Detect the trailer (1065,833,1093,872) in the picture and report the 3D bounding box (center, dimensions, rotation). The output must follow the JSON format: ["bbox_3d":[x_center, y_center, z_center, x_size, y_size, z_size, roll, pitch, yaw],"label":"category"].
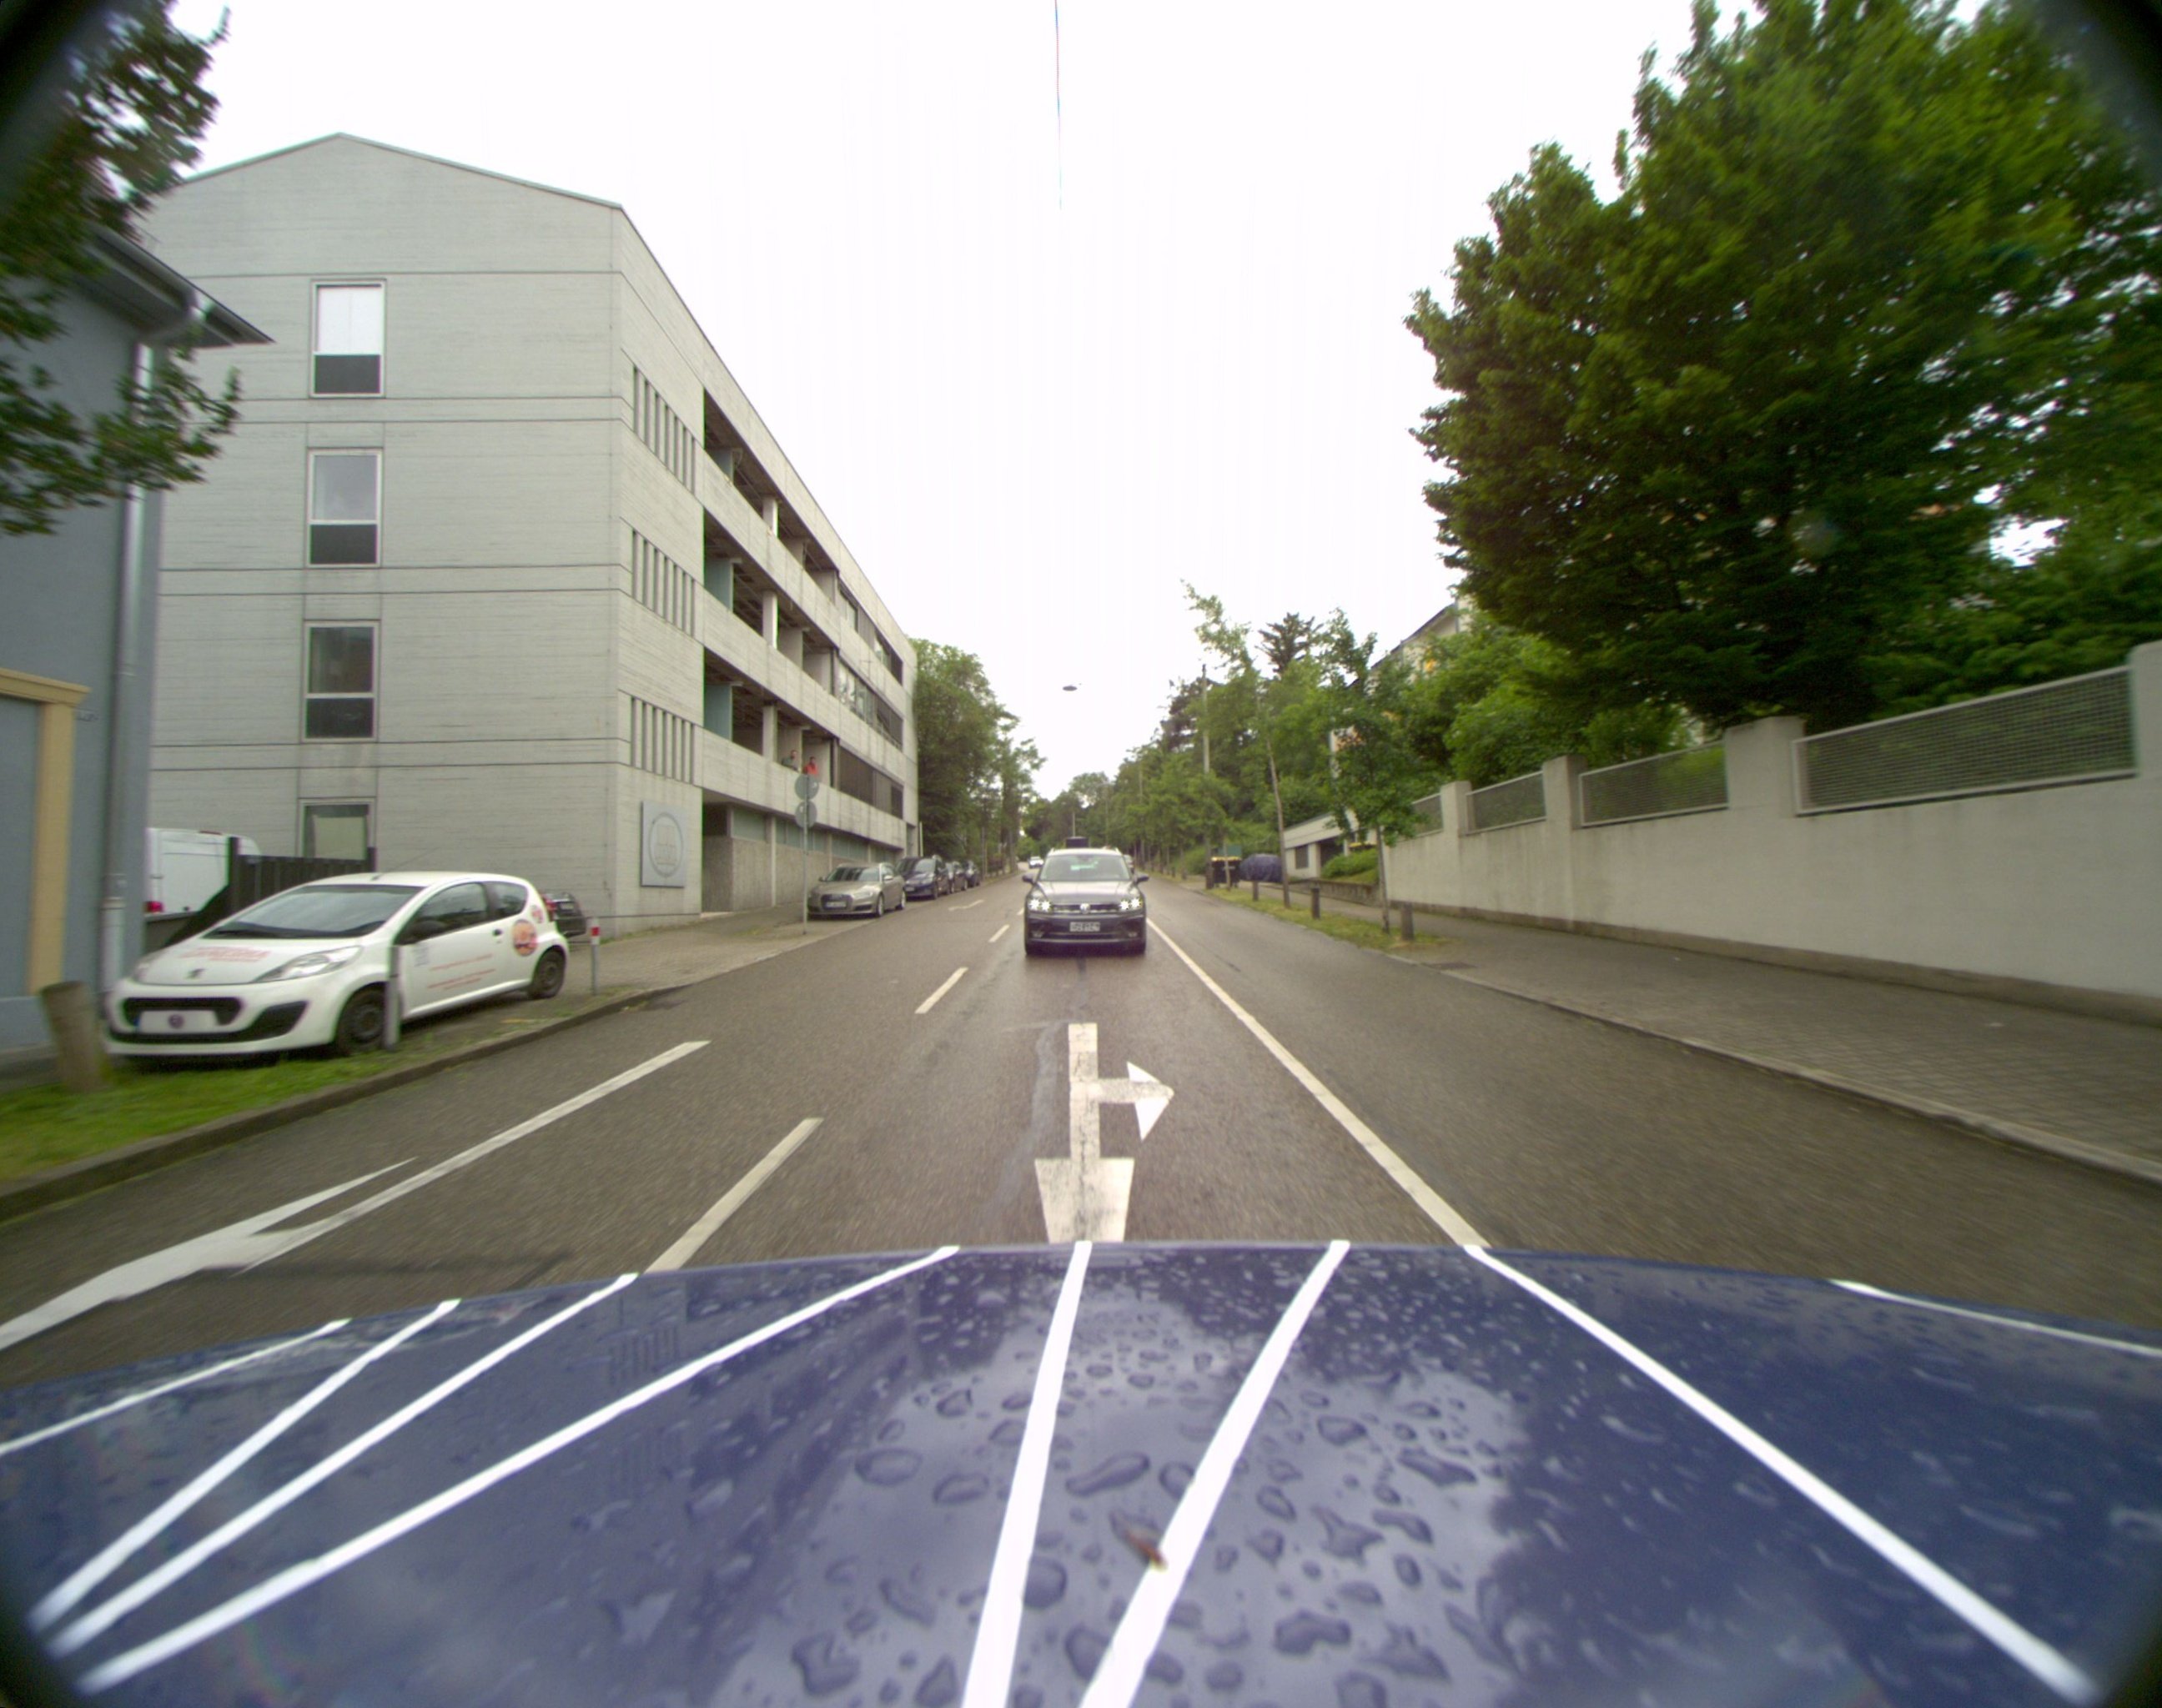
[{"bbox_3d":[-0.145,-0.147,53.819,1.771,2.610,3.031,-3,2,-2],"label":"trailer"}]

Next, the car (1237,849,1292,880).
[{"bbox_3d":[9.894,0.542,41.222,1.856,1.483,3.865,3,0,-1],"label":"car"}]

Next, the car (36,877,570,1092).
[{"bbox_3d":[-6.678,0.978,7.137,1.591,1.403,3.455,0,0,-4],"label":"car"}]

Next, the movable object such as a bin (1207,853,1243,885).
[{"bbox_3d":[6.223,0.626,32.864,1.227,1.342,1.122,-1,1,-8],"label":"movable object such as a bin"}]

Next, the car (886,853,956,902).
[{"bbox_3d":[-6.044,0.831,29.145,1.749,1.665,4.344,-1,1,0],"label":"car"}]

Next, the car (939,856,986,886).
[{"bbox_3d":[-6.185,0.854,39.939,1.843,1.436,4.155,1,0,-1],"label":"car"}]

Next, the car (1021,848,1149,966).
[{"bbox_3d":[0.071,0.740,12.899,1.786,1.632,4.199,-1,1,0],"label":"car"}]

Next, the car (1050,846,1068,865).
[{"bbox_3d":[-2.481,0.136,85.352,1.999,2.002,3.998,-1,1,-2],"label":"car"}]

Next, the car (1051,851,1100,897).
[{"bbox_3d":[-0.186,0.718,29.935,1.786,1.632,4.199,-1,1,0],"label":"car"}]

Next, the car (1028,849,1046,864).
[{"bbox_3d":[-6.268,0.278,108.721,2.000,2.002,3.995,-1,1,-11],"label":"car"}]

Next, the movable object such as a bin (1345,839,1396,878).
[{"bbox_3d":[10.317,0.182,27.124,1.266,1.307,1.162,-1,-3,-8],"label":"movable object such as a bin"}]

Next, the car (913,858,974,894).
[{"bbox_3d":[-6.035,0.933,33.705,1.710,1.436,4.098,-1,1,3],"label":"car"}]

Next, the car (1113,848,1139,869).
[{"bbox_3d":[3.400,0.302,57.686,1.723,1.377,4.283,-2,2,1],"label":"car"}]

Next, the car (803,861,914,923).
[{"bbox_3d":[-6.100,0.974,21.416,1.819,1.451,4.740,-1,0,-2],"label":"car"}]

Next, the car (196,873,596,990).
[{"bbox_3d":[-10.648,1.134,12.235,4.370,1.399,1.806,-3,1,-15],"label":"car"}]
